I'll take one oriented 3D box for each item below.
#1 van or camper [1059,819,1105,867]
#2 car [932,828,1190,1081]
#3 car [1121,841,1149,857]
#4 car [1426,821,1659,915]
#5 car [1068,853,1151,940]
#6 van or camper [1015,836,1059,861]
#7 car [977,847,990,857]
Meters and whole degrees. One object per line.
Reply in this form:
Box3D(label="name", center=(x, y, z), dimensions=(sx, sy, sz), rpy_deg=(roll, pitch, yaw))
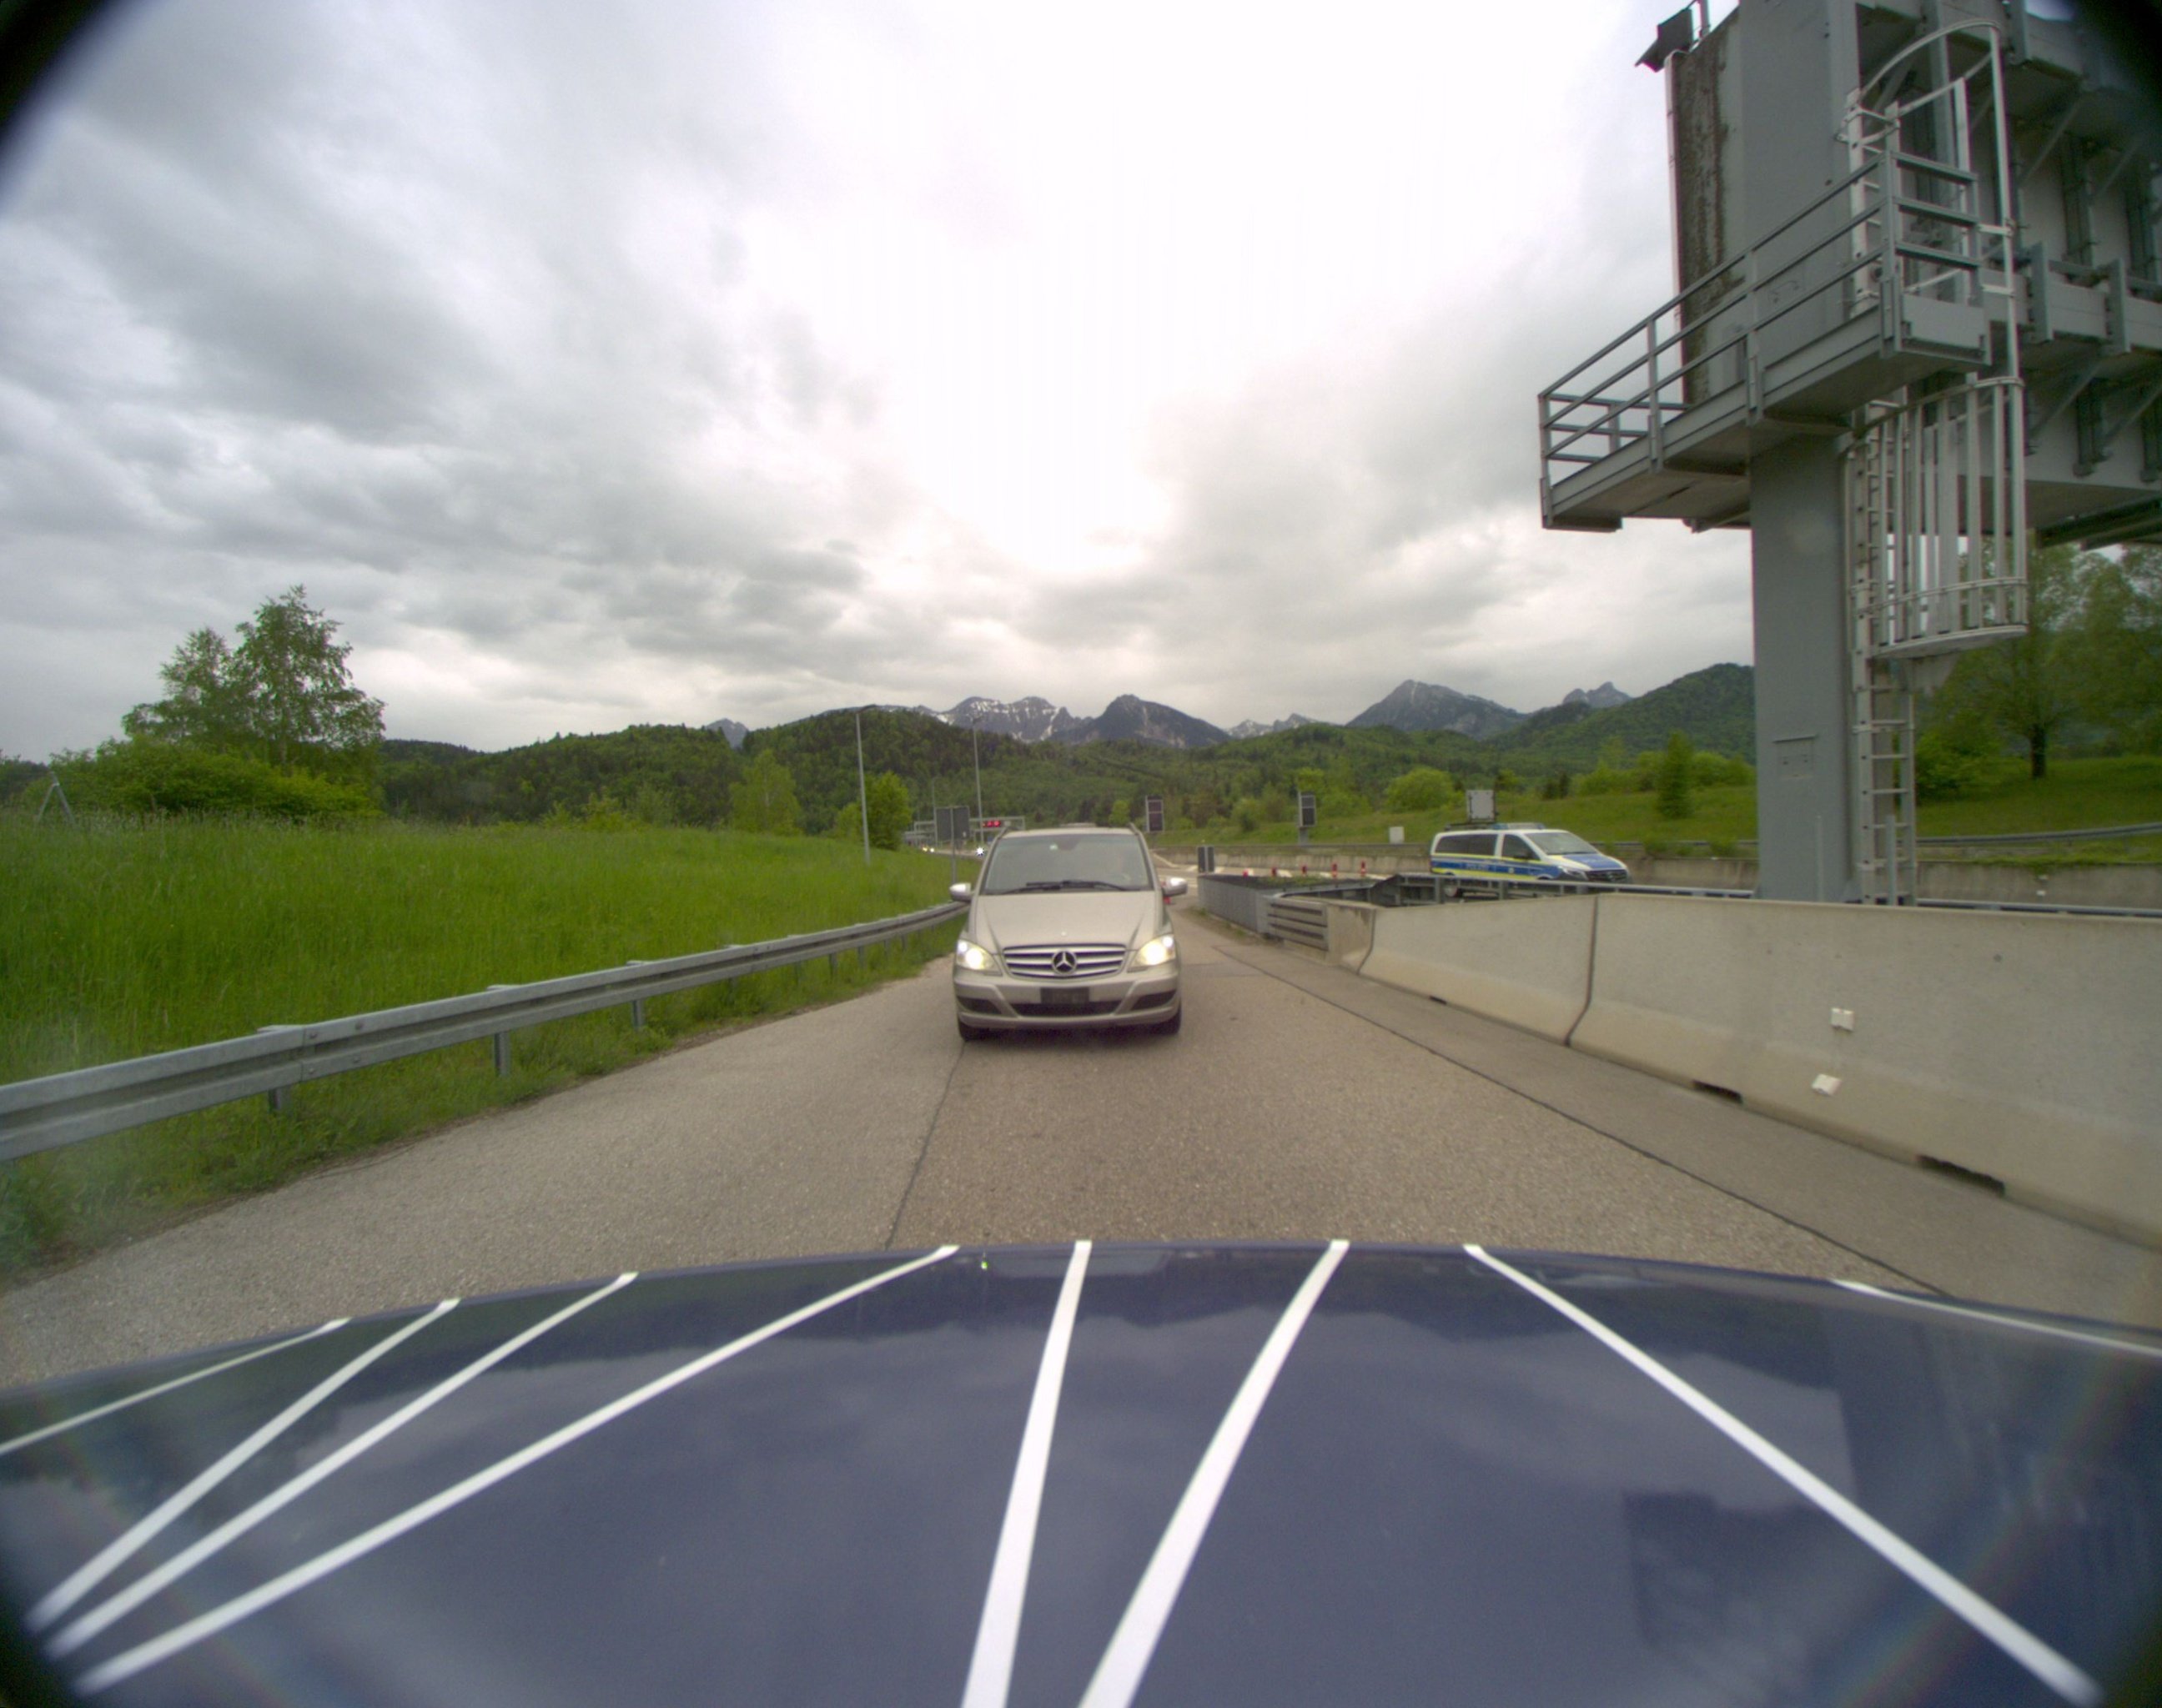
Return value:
Box3D(label="van or camper", center=(-0.034, -0.833, 58.414), dimensions=(2.584, 3.372, 7.349), rpy_deg=(-2, 1, -7))
Box3D(label="car", center=(-0.111, 0.707, 8.392), dimensions=(1.862, 1.833, 5.616), rpy_deg=(-1, 1, 1))
Box3D(label="car", center=(6.771, -0.674, 95.730), dimensions=(1.992, 1.944, 5.102), rpy_deg=(-1, 1, -15))
Box3D(label="car", center=(11.321, 0.274, 19.201), dimensions=(2.106, 2.002, 5.045), rpy_deg=(-2, 1, -13))
Box3D(label="car", center=(0.596, 0.837, 16.862), dimensions=(1.591, 1.662, 4.000), rpy_deg=(-1, 0, 1))
Box3D(label="van or camper", center=(-5.095, -0.646, 86.008), dimensions=(3.345, 2.629, 8.189), rpy_deg=(-1, 1, -15))
Box3D(label="car", center=(-16.434, -0.288, 128.164), dimensions=(1.722, 1.629, 4.342), rpy_deg=(-1, 1, -14))
